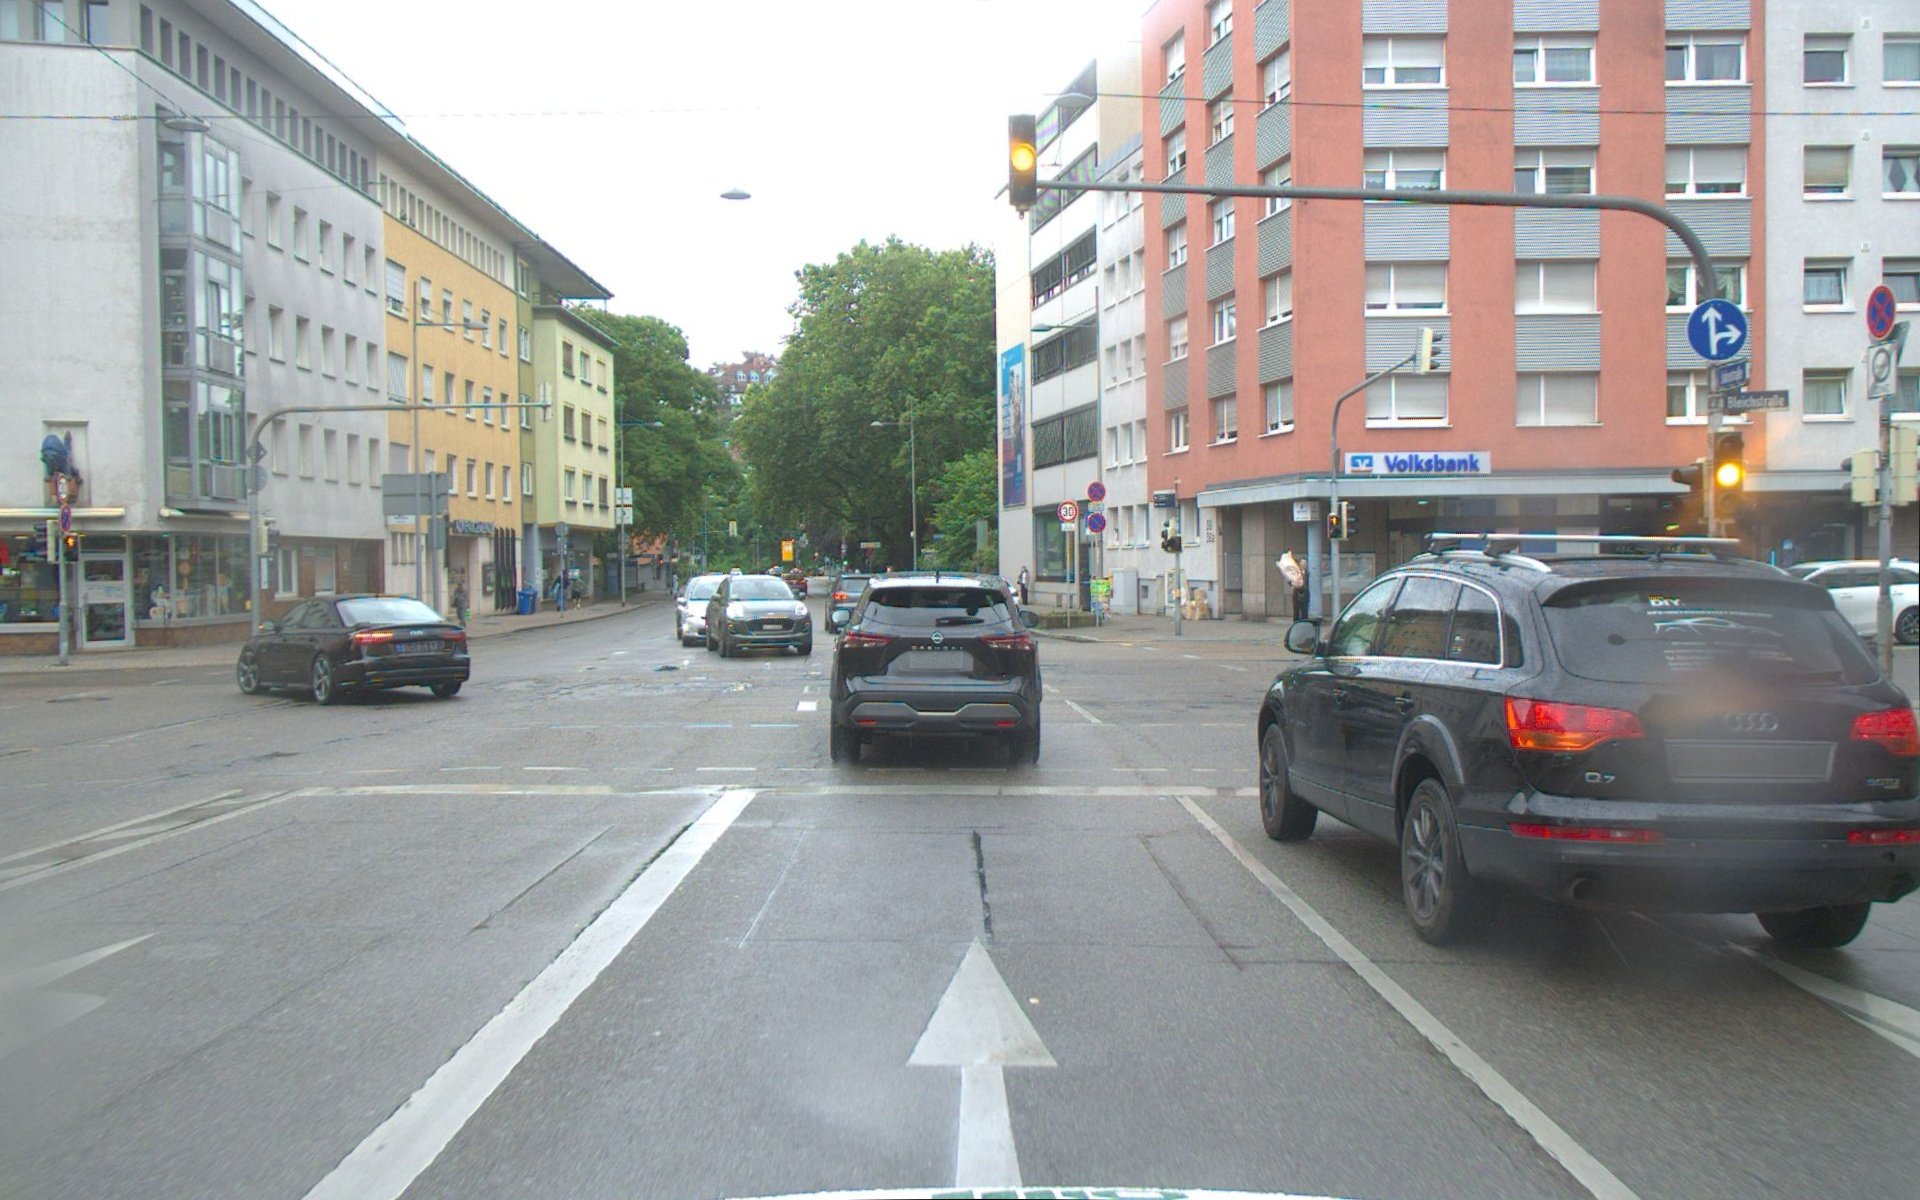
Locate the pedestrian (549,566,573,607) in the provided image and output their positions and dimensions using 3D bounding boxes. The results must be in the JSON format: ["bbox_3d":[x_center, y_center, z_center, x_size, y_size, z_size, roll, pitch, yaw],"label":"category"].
[{"bbox_3d":[-17.997,-0.599,74.596,0.848,1.819,0.875,2,0,-2],"label":"pedestrian"}]

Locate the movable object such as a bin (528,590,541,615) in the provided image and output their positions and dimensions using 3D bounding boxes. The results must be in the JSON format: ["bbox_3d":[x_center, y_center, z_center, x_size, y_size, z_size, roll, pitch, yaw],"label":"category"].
[{"bbox_3d":[-18.247,0.102,70.909,0.391,1.024,0.545,-1,1,-1],"label":"movable object such as a bin"}]

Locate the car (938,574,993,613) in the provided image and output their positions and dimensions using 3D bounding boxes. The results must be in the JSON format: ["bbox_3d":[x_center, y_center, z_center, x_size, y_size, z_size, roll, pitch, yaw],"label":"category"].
[{"bbox_3d":[0.195,-0.280,67.870,1.682,1.467,4.076,-3,1,-7],"label":"car"}]

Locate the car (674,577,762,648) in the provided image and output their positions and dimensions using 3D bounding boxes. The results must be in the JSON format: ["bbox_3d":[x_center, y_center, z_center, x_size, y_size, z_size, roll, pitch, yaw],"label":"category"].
[{"bbox_3d":[-5.659,0.280,38.999,1.897,1.553,4.128,-1,0,-7],"label":"car"}]

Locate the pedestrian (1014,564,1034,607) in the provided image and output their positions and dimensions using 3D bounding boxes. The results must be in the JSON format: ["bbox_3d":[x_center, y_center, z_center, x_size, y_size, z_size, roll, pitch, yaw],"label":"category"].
[{"bbox_3d":[2.699,-0.620,70.045,0.602,1.767,0.678,-3,1,-15],"label":"pedestrian"}]

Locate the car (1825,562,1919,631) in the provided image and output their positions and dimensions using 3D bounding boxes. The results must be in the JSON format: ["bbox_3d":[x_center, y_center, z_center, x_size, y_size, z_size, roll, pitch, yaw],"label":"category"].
[{"bbox_3d":[21.575,-0.122,36.363,4.281,1.450,1.668,-1,1,-2],"label":"car"}]

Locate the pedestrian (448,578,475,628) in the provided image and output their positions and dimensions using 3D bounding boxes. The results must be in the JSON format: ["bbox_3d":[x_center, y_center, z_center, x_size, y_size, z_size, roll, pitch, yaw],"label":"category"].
[{"bbox_3d":[-16.584,0.096,55.045,0.673,1.609,0.652,2,1,-1],"label":"pedestrian"}]

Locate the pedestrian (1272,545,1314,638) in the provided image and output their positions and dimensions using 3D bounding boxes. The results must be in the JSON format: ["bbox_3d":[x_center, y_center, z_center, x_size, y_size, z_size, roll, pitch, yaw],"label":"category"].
[{"bbox_3d":[7.994,-0.219,39.704,0.809,2.196,0.769,1,1,-2],"label":"pedestrian"}]

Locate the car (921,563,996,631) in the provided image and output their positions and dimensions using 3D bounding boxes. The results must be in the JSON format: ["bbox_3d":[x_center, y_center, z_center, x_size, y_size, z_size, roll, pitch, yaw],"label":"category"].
[{"bbox_3d":[-0.091,-0.102,49.147,1.907,1.848,3.997,-3,0,-4],"label":"car"}]

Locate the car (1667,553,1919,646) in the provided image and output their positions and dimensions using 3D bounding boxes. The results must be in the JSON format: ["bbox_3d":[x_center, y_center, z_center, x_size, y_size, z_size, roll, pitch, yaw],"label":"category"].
[{"bbox_3d":[15.350,-0.037,29.642,4.558,1.512,1.919,-1,1,-4],"label":"car"}]

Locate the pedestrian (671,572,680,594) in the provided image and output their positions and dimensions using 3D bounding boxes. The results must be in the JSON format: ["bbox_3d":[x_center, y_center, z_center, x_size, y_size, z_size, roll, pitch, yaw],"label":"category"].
[{"bbox_3d":[-24.346,-1.448,141.383,0.655,1.822,0.719,1,1,-15],"label":"pedestrian"}]

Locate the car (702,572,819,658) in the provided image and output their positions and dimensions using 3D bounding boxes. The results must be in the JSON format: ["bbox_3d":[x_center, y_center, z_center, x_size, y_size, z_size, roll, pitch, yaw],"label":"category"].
[{"bbox_3d":[-4.071,0.267,33.144,1.825,1.580,4.211,-1,1,-14],"label":"car"}]

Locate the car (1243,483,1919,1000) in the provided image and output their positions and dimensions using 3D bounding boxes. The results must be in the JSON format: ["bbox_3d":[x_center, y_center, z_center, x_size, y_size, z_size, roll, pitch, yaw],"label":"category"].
[{"bbox_3d":[2.995,0.534,8.638,1.980,1.902,4.897,1,0,-2],"label":"car"}]

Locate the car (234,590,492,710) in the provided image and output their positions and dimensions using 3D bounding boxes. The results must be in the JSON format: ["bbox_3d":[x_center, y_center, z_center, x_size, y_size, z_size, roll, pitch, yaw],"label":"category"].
[{"bbox_3d":[-8.464,0.618,23.227,1.982,1.412,4.434,-4,3,-40],"label":"car"}]

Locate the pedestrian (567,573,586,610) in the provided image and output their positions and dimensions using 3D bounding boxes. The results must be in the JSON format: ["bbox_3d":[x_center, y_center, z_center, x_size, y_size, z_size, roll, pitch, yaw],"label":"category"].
[{"bbox_3d":[-17.882,-0.418,77.187,0.783,1.718,0.816,-1,1,-8],"label":"pedestrian"}]

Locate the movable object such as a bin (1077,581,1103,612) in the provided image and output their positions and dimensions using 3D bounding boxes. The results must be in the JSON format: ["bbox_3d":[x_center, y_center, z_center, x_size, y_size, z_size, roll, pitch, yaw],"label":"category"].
[{"bbox_3d":[4.689,-0.134,59.737,0.700,1.086,0.781,-1,1,-14],"label":"movable object such as a bin"}]

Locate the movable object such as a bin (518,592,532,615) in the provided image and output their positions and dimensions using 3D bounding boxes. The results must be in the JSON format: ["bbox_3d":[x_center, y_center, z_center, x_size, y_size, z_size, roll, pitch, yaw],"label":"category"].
[{"bbox_3d":[-18.086,0.151,68.711,0.445,0.945,0.502,-1,1,-1],"label":"movable object such as a bin"}]

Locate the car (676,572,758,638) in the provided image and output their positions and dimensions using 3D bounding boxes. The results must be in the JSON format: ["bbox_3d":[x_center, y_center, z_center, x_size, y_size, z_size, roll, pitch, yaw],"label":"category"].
[{"bbox_3d":[-6.486,0.129,44.515,1.785,1.636,4.427,-1,0,-4],"label":"car"}]

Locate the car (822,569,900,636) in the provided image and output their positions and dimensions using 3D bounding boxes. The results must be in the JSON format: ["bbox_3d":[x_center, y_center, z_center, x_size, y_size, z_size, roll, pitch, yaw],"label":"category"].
[{"bbox_3d":[-2.836,0.051,46.576,1.909,1.714,3.994,-3,0,-7],"label":"car"}]

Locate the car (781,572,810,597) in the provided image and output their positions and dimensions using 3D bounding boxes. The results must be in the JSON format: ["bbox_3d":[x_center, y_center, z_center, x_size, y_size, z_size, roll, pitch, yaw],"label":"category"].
[{"bbox_3d":[-10.992,-1.052,110.533,1.786,1.640,3.860,1,1,-7],"label":"car"}]

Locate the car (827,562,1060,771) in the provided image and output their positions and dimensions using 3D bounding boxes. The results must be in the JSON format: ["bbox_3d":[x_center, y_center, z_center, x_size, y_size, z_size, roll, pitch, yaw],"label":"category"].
[{"bbox_3d":[-0.266,0.513,15.223,1.857,1.657,3.997,0,1,-4],"label":"car"}]

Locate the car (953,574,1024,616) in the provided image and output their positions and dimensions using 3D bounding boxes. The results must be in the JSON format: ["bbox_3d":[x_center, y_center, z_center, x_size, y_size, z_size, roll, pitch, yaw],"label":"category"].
[{"bbox_3d":[1.006,-0.205,61.429,1.742,1.425,4.569,-3,1,-10],"label":"car"}]

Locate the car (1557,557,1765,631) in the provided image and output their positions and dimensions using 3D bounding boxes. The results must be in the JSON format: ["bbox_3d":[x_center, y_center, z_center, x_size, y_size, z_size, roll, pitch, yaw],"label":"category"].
[{"bbox_3d":[15.451,-0.149,36.545,3.866,1.512,1.702,-1,1,-2],"label":"car"}]
